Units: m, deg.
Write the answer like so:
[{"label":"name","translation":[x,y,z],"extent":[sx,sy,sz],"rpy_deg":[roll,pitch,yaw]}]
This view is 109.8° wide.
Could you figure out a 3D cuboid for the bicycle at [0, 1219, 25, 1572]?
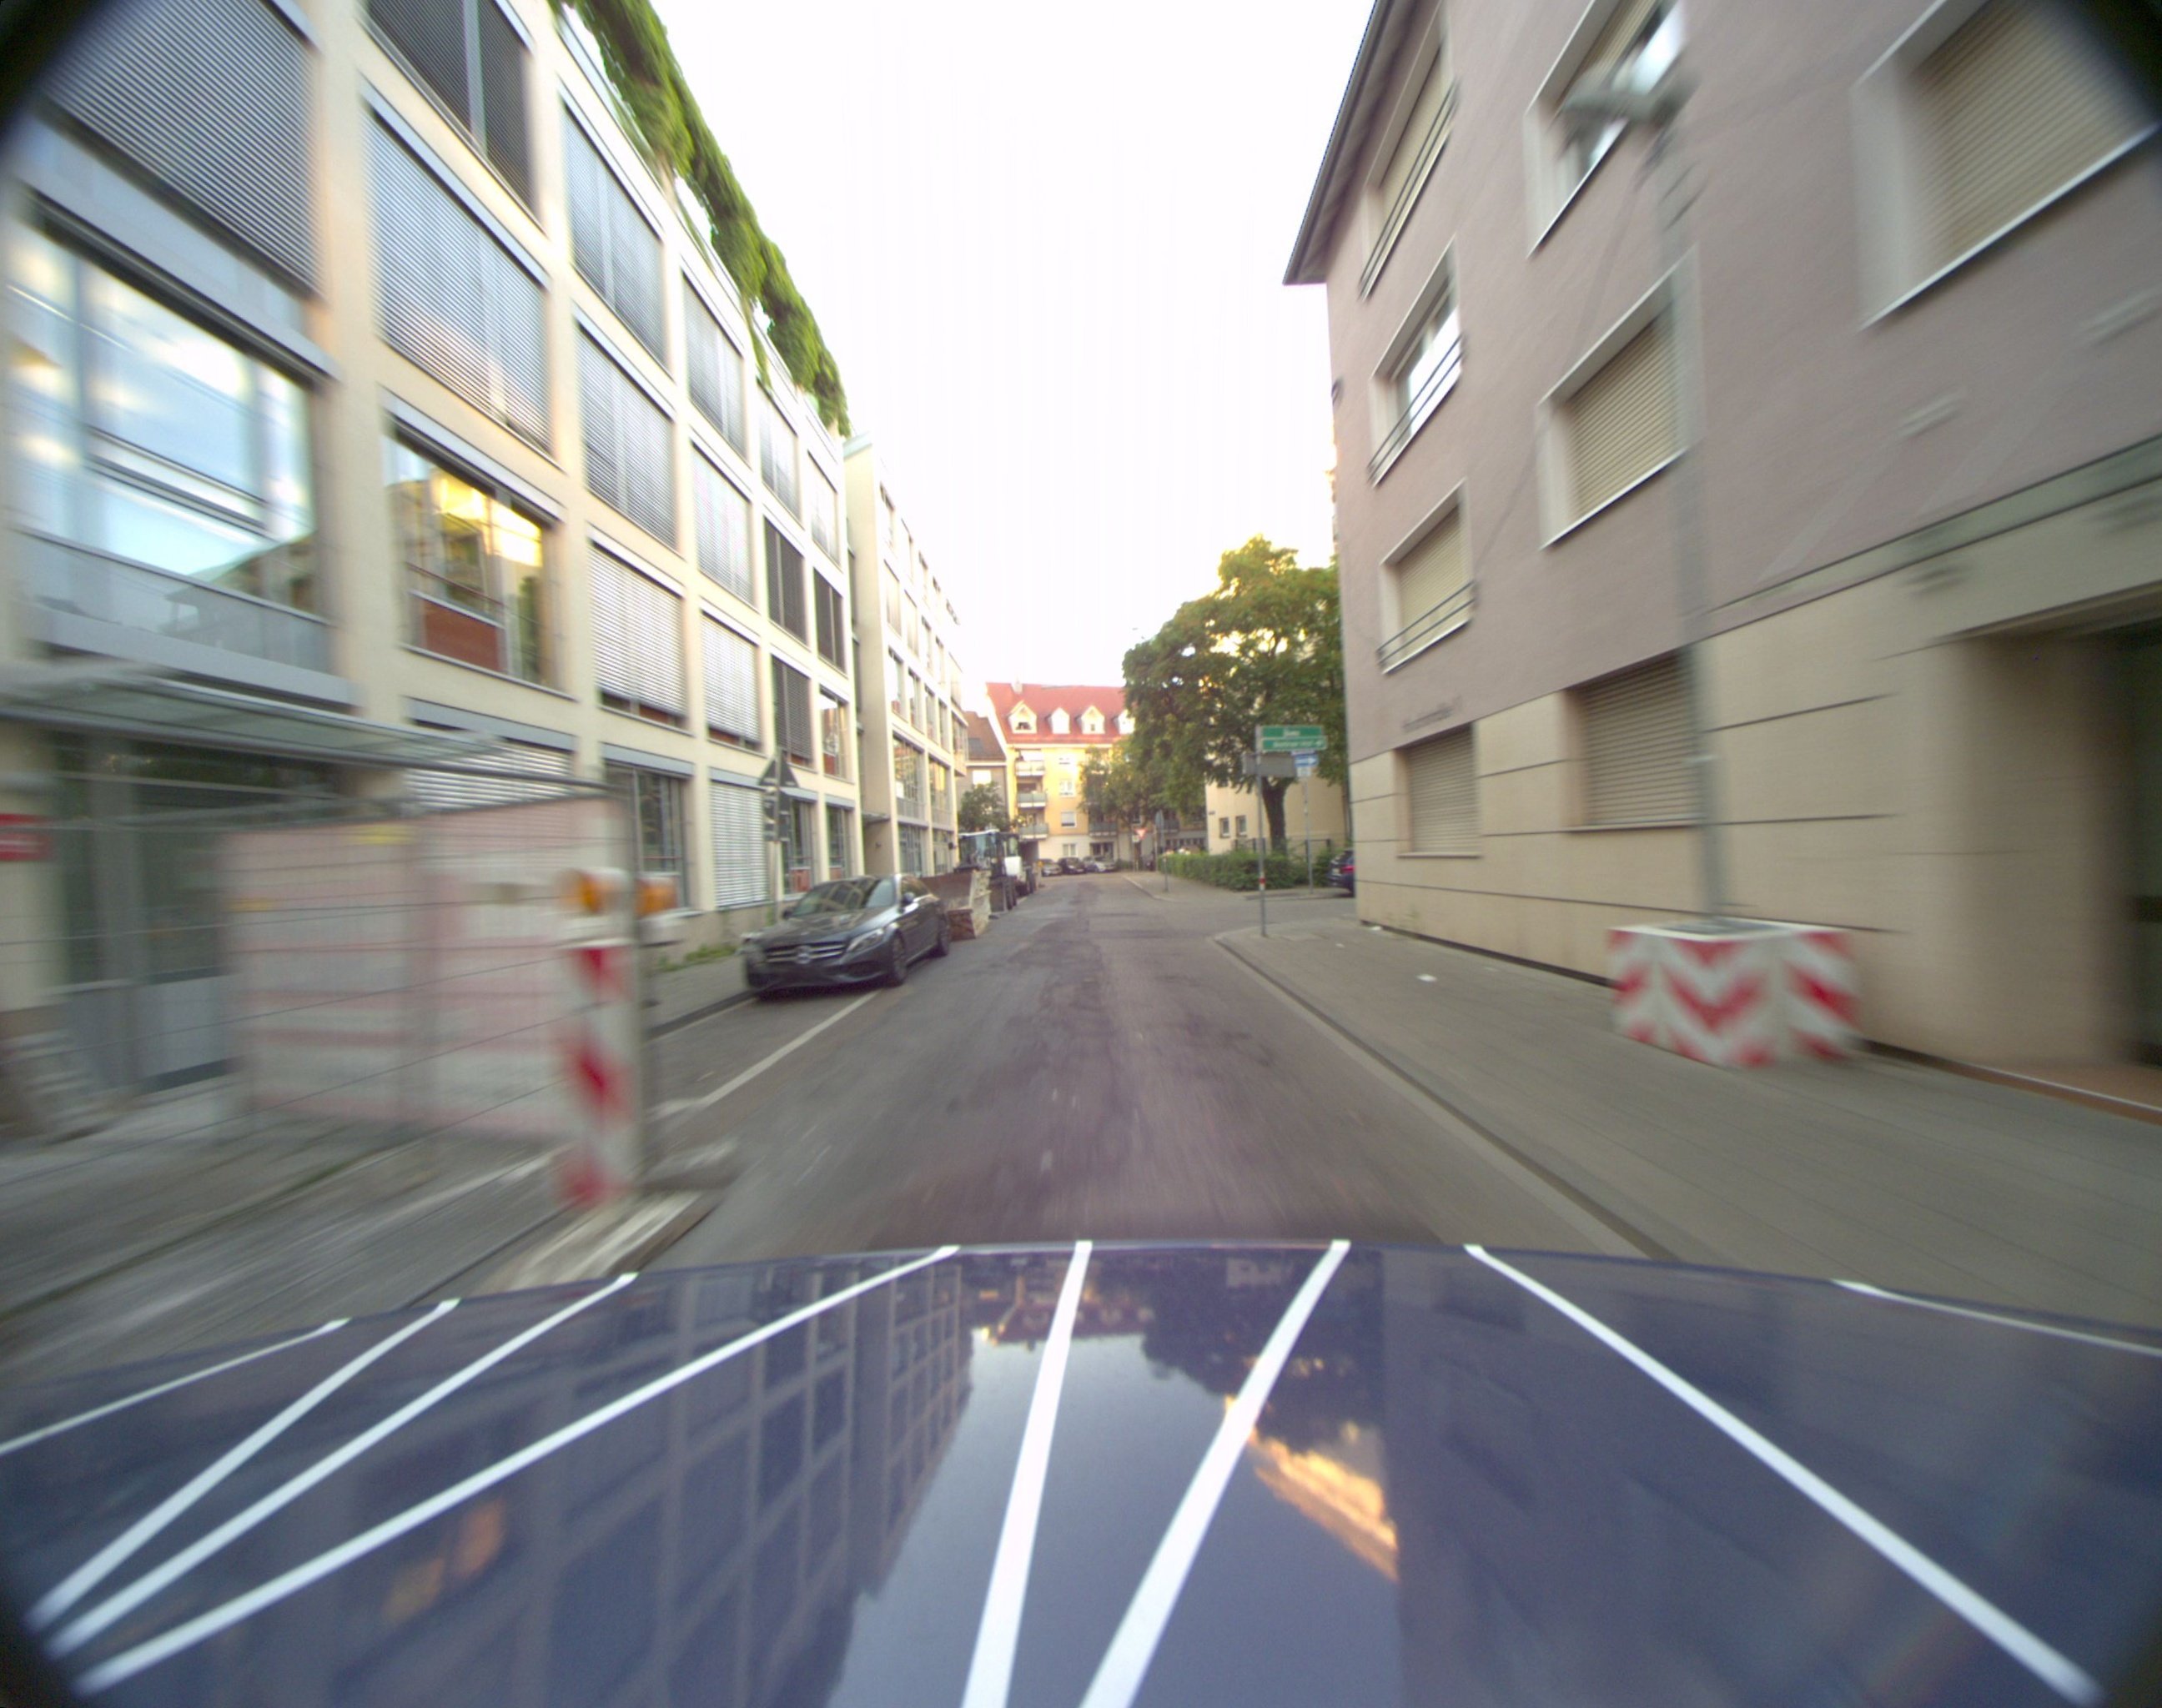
[{"label":"bicycle","translation":[-3.537,1.450,2.168],"extent":[1.488,0.892,0.398],"rpy_deg":[-4,0,29]}]

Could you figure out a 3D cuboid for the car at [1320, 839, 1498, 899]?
[{"label":"car","translation":[9.344,0.410,21.887],"extent":[4.356,1.449,1.686],"rpy_deg":[-3,1,-1]}]

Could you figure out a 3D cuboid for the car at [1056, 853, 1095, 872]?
[{"label":"car","translation":[-0.515,0.749,65.478],"extent":[1.855,1.554,4.073],"rpy_deg":[-3,0,-23]}]

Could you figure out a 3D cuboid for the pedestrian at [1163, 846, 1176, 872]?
[{"label":"pedestrian","translation":[6.299,0.334,54.017],"extent":[0.697,1.777,0.530],"rpy_deg":[-3,0,28]}]

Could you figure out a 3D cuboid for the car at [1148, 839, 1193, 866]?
[{"label":"car","translation":[8.053,-0.188,68.808],"extent":[2.038,2.122,4.624],"rpy_deg":[-3,4,-22]}]

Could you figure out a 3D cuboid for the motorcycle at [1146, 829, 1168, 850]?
[{"label":"motorcycle","translation":[5.729,-1.060,57.619],"extent":[0.692,1.485,2.221],"rpy_deg":[-3,0,-20]}]

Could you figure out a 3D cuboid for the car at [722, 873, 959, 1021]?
[{"label":"car","translation":[-3.024,1.093,10.665],"extent":[1.697,1.398,4.479],"rpy_deg":[-4,0,2]}]

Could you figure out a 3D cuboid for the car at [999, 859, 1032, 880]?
[{"label":"car","translation":[-5.481,1.280,63.258],"extent":[1.747,1.517,3.355],"rpy_deg":[-3,2,-21]}]

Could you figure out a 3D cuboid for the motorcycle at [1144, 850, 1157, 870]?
[{"label":"motorcycle","translation":[5.033,0.435,55.291],"extent":[0.722,1.366,2.226],"rpy_deg":[-3,0,9]}]

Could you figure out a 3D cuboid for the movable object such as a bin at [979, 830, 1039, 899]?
[{"label":"movable object such as a bin","translation":[-2.922,0.391,31.834],"extent":[1.800,2.619,4.111],"rpy_deg":[-3,0,3]}]

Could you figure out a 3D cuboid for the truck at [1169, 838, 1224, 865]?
[{"label":"truck","translation":[10.542,-0.249,70.043],"extent":[2.263,2.122,6.010],"rpy_deg":[-3,4,-22]}]

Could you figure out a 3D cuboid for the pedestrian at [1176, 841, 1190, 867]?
[{"label":"pedestrian","translation":[7.180,-0.002,53.531],"extent":[0.666,1.777,0.698],"rpy_deg":[-3,0,-17]}]

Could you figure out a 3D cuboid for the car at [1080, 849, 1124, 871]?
[{"label":"car","translation":[1.788,0.516,66.409],"extent":[1.838,1.694,4.803],"rpy_deg":[-5,1,-23]}]

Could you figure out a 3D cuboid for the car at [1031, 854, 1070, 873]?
[{"label":"car","translation":[-2.624,0.814,64.682],"extent":[1.874,1.499,4.286],"rpy_deg":[-3,0,-23]}]

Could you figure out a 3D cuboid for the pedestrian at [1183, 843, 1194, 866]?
[{"label":"pedestrian","translation":[7.401,0.039,52.505],"extent":[0.448,1.563,0.660],"rpy_deg":[-4,1,-17]}]

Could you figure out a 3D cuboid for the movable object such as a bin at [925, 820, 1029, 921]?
[{"label":"movable object such as a bin","translation":[-2.974,0.424,23.120],"extent":[2.172,2.581,5.542],"rpy_deg":[-3,0,1]}]
